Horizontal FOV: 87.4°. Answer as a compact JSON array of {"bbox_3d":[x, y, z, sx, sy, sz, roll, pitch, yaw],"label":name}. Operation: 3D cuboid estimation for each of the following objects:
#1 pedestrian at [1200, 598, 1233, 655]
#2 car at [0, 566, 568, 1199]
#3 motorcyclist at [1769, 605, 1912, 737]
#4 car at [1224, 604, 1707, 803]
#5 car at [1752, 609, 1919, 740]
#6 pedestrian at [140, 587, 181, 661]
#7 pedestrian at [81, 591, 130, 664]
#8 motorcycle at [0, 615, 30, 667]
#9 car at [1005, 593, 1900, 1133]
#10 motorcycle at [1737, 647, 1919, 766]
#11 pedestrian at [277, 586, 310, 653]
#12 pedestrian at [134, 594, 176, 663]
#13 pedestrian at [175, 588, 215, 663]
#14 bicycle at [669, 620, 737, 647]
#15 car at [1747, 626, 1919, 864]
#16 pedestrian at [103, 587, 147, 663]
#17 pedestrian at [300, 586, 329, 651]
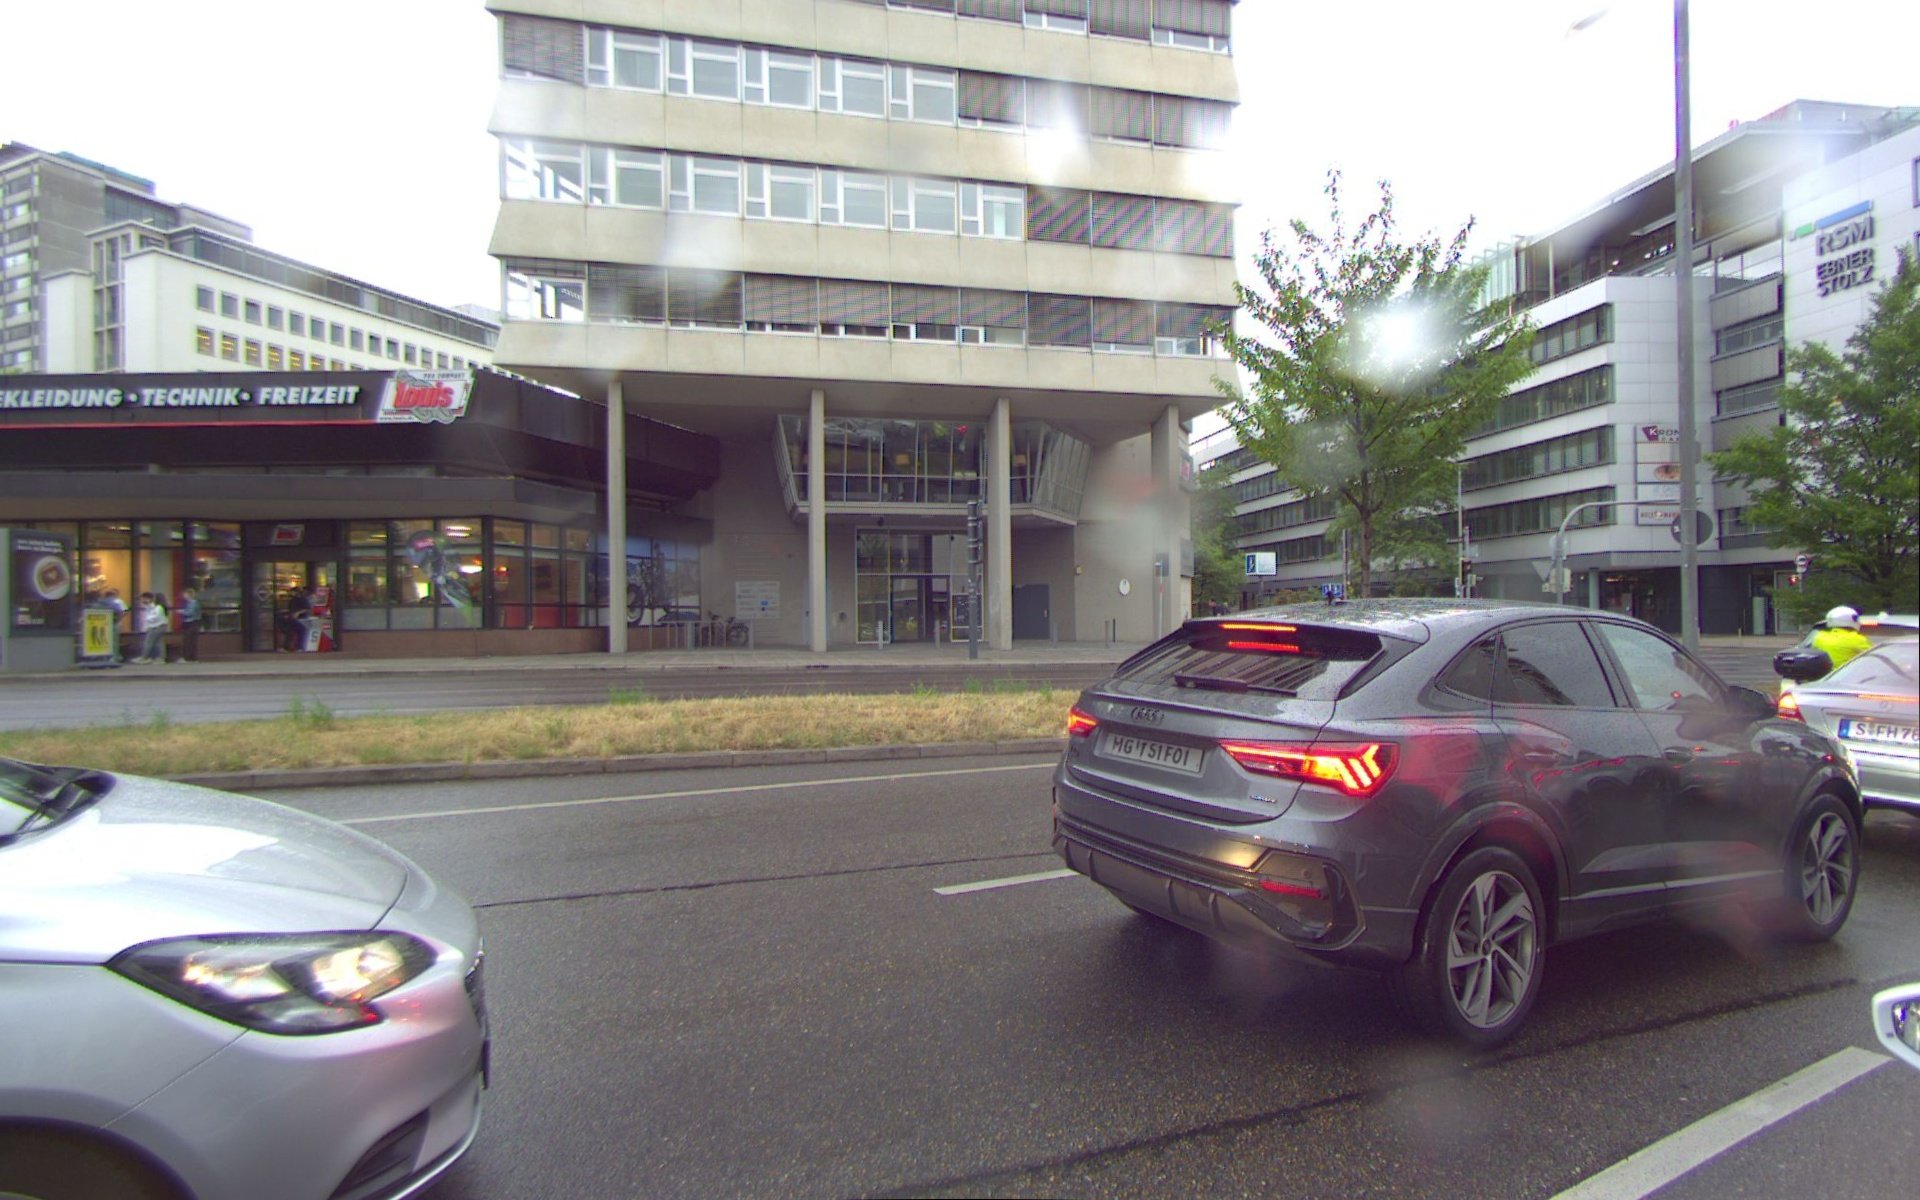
[{"bbox_3d":[7.855,0.807,30.759,0.751,1.706,0.677,1,0,-16],"label":"pedestrian"},{"bbox_3d":[-2.835,0.652,1.698,3.831,1.455,1.639,1,0,-32],"label":"car"},{"bbox_3d":[9.850,0.776,11.248,1.102,1.398,0.768,2,0,-22],"label":"motorcyclist"},{"bbox_3d":[5.026,0.852,9.848,4.717,1.554,1.858,1,0,-28],"label":"car"},{"bbox_3d":[12.645,0.932,13.205,3.940,1.506,1.704,2,0,-21],"label":"car"},{"bbox_3d":[-19.163,0.570,24.092,0.548,1.767,0.541,1,0,-9],"label":"pedestrian"},{"bbox_3d":[-19.495,0.629,22.928,0.601,1.633,0.614,1,0,-9],"label":"pedestrian"},{"bbox_3d":[-23.518,0.989,24.185,0.353,1.249,1.669,1,0,20],"label":"motorcycle"},{"bbox_3d":[2.429,0.779,4.648,4.220,1.542,1.640,1,0,-30],"label":"car"},{"bbox_3d":[9.789,1.164,11.242,1.998,1.200,0.799,2,0,-21],"label":"motorcycle"},{"bbox_3d":[-17.504,0.505,26.371,0.488,1.741,0.525,1,0,3],"label":"pedestrian"},{"bbox_3d":[-18.825,0.665,23.490,0.548,1.591,0.541,1,0,-9],"label":"pedestrian"},{"bbox_3d":[-18.261,0.597,23.982,0.548,1.767,0.541,1,0,-9],"label":"pedestrian"},{"bbox_3d":[-8.628,1.142,33.765,2.165,0.871,0.456,2,0,-31],"label":"bicycle"},{"bbox_3d":[7.693,0.959,7.091,4.050,1.426,1.567,2,0,-22],"label":"car"},{"bbox_3d":[-19.738,0.586,23.751,0.548,1.767,0.614,1,0,-9],"label":"pedestrian"},{"bbox_3d":[-17.658,0.506,27.475,0.436,1.741,0.509,1,0,3],"label":"pedestrian"}]
